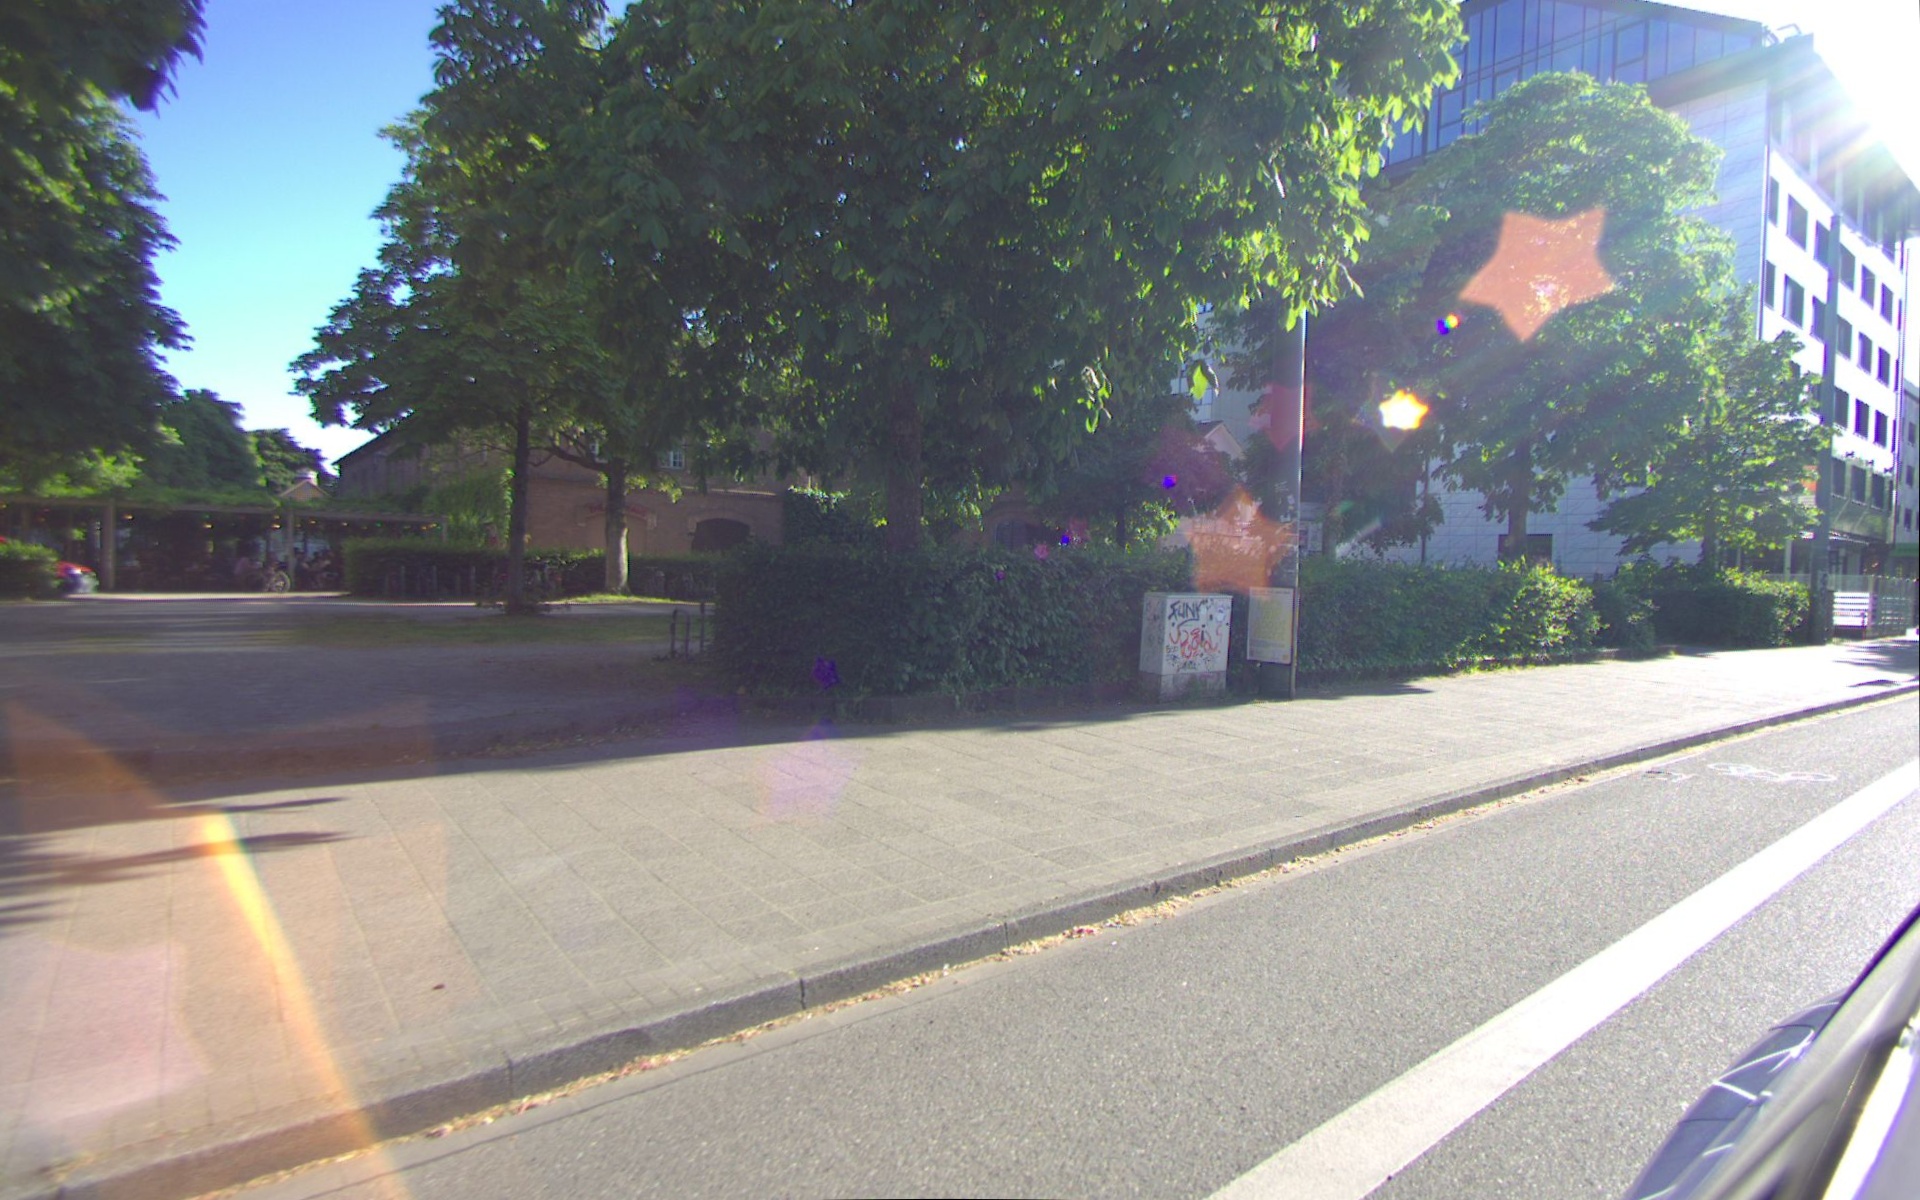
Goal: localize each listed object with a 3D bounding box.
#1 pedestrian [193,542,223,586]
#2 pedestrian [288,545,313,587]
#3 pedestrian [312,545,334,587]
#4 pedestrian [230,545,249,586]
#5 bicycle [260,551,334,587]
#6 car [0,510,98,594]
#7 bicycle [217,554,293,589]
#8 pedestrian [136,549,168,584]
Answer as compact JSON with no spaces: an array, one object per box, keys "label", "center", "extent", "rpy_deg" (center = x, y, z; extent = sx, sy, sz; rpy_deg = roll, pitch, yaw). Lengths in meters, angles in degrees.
[{"label":"pedestrian","center":[-25.100,-1.192,33.781],"extent":[0.579,1.417,0.833],"rpy_deg":[0,0,-20]},{"label":"pedestrian","center":[-22.457,-1.156,34.479],"extent":[0.579,1.417,0.833],"rpy_deg":[0,0,-25]},{"label":"pedestrian","center":[-21.866,-1.150,34.746],"extent":[0.579,1.417,0.632],"rpy_deg":[0,0,-25]},{"label":"pedestrian","center":[-24.298,-1.146,34.125],"extent":[0.484,1.366,0.351],"rpy_deg":[0,0,-39]},{"label":"bicycle","center":[-23.034,-1.064,35.177],"extent":[2.094,1.144,0.451],"rpy_deg":[2,-1,-40]},{"label":"car","center":[-24.339,-1.191,24.627],"extent":[5.117,2.038,1.229],"rpy_deg":[0,2,-42]},{"label":"bicycle","center":[-23.221,-0.932,33.353],"extent":[2.089,1.144,0.453],"rpy_deg":[0,0,-8]},{"label":"pedestrian","center":[-25.532,-1.048,31.987],"extent":[0.579,1.094,0.757],"rpy_deg":[0,0,-20]}]
